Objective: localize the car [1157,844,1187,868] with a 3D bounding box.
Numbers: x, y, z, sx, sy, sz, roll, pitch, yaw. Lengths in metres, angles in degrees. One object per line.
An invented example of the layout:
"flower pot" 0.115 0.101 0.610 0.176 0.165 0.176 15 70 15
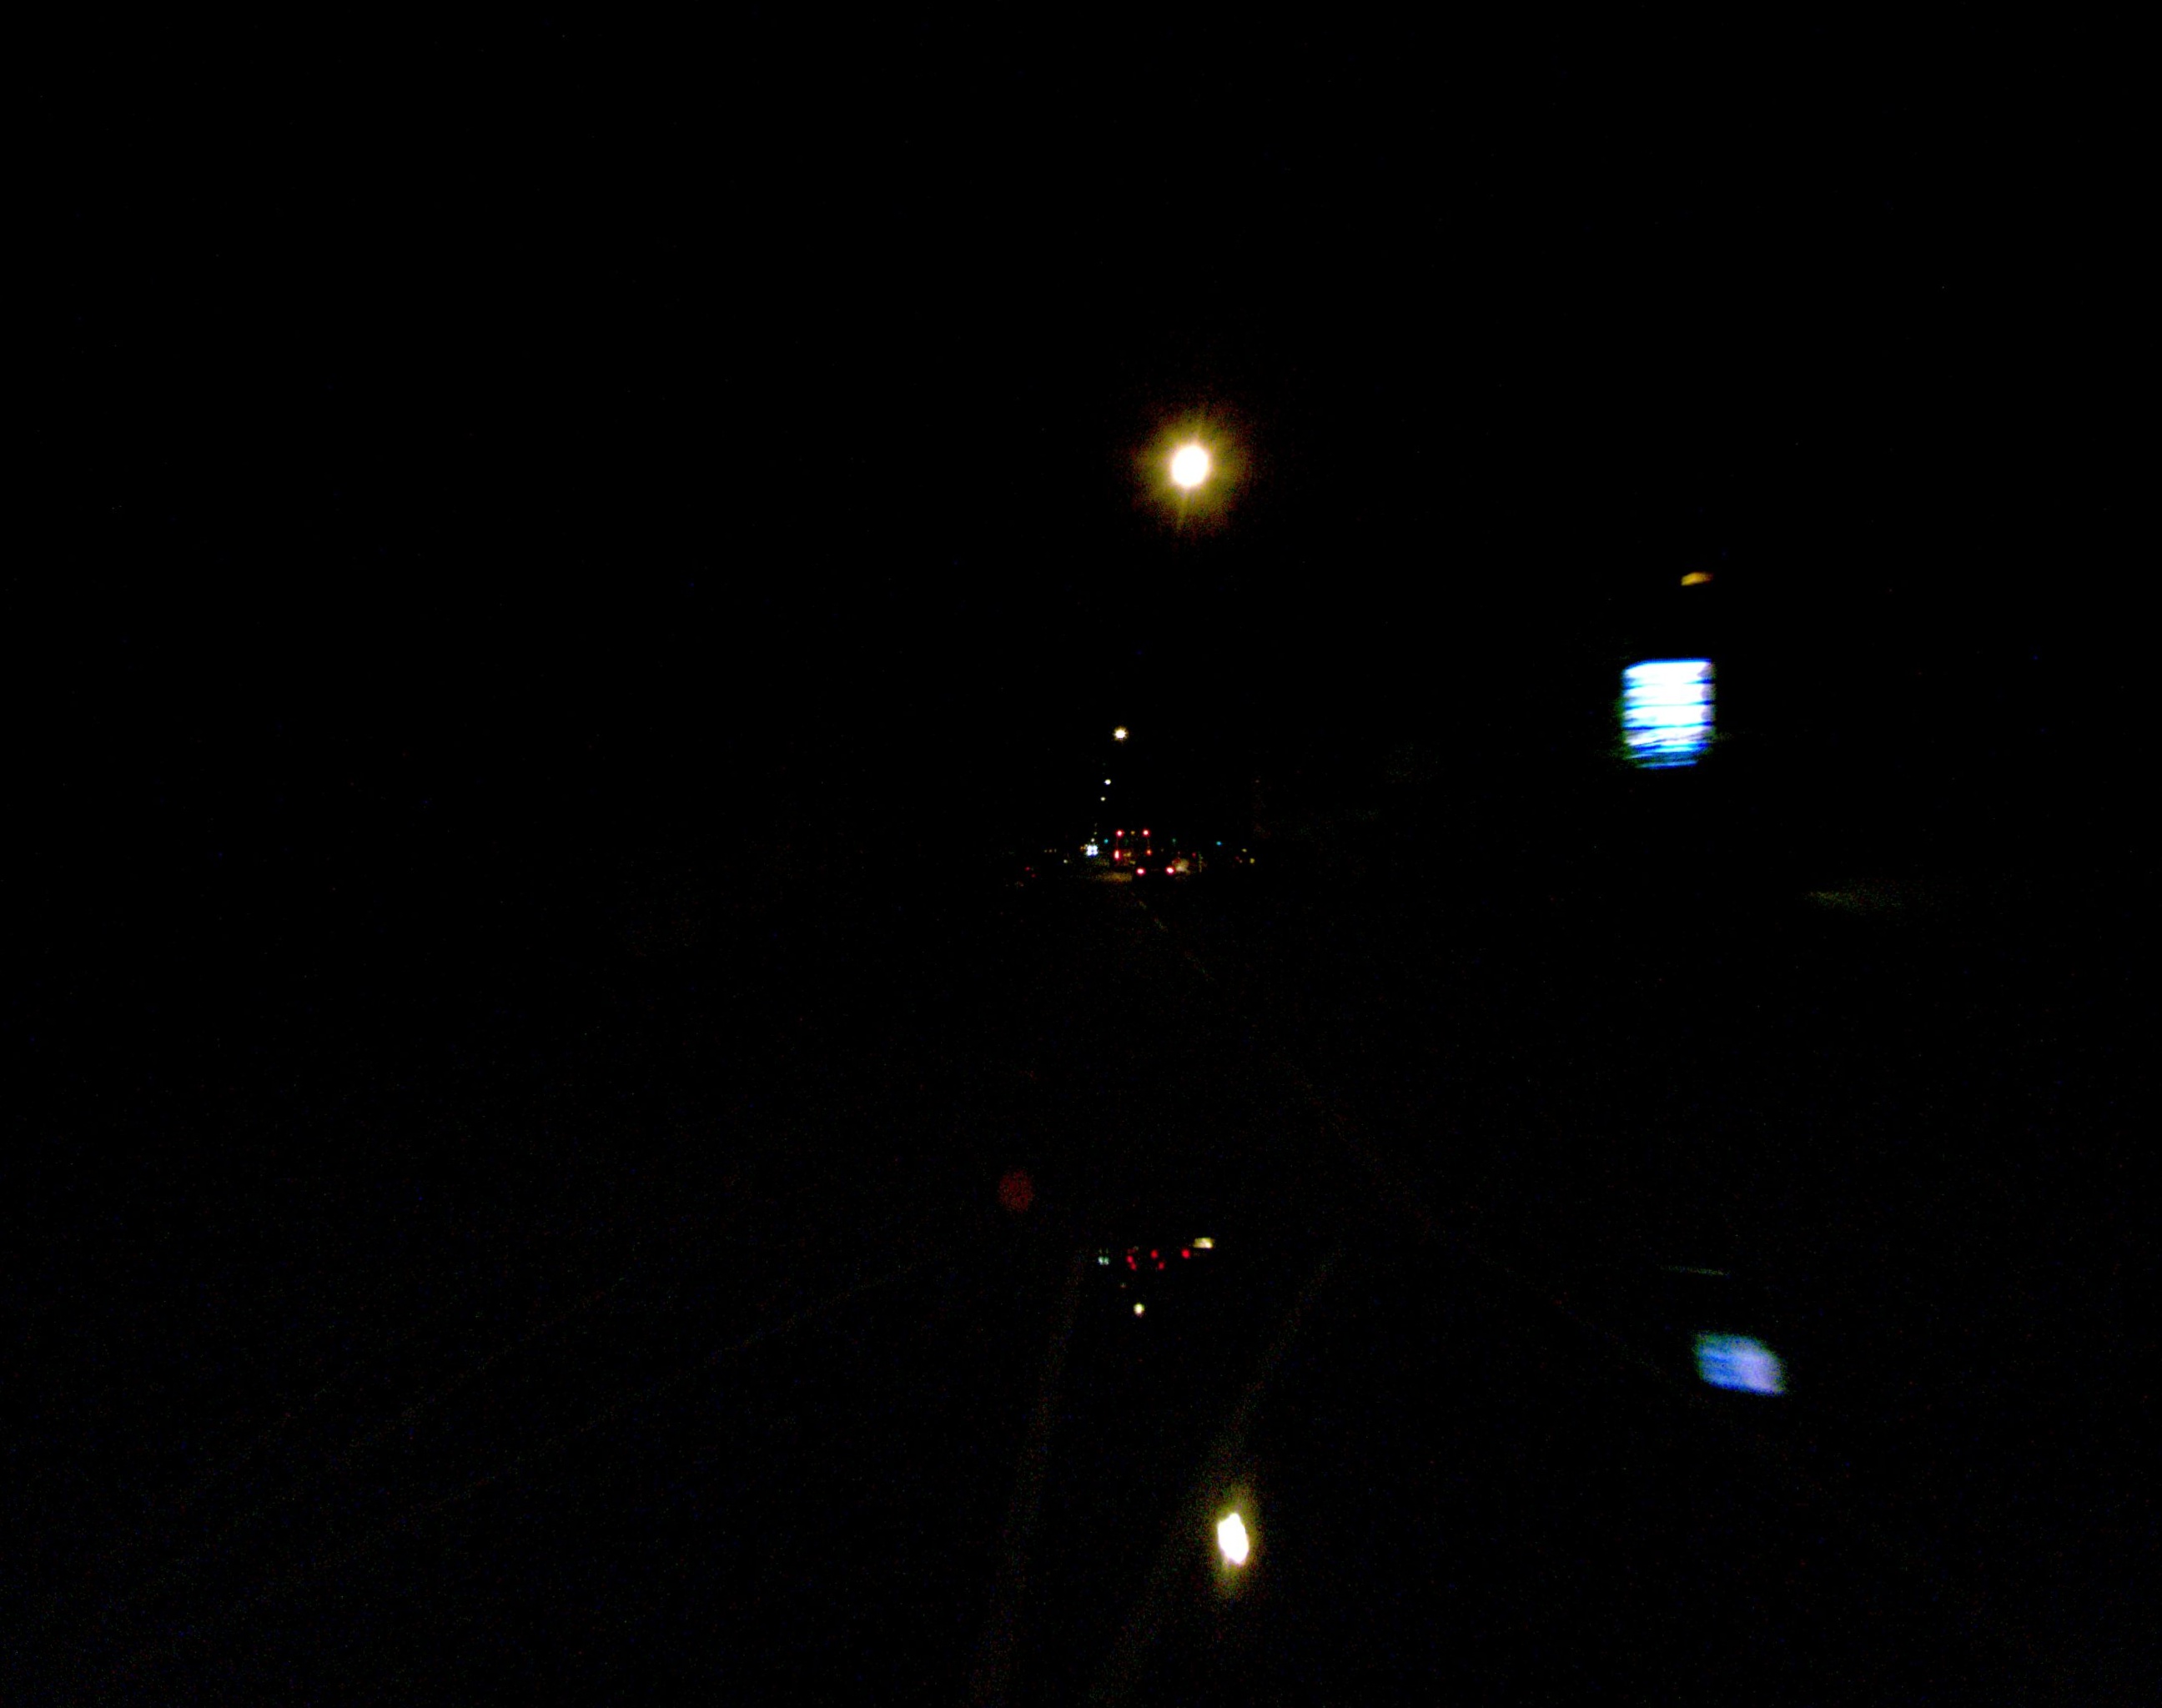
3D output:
"car" 7.150 0.111 60.118 1.998 1.740 4.000 -2 1 3

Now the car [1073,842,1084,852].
"car" -0.499 -1.440 150.252 1.916 1.816 4.899 -1 1 -1

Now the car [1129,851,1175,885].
"car" 3.131 0.585 34.075 1.650 1.414 3.870 -1 0 0

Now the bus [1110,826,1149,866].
"bus" 4.189 -0.715 67.864 2.844 3.159 10.498 -2 0 1

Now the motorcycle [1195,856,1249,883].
"motorcycle" 6.158 0.666 33.292 2.203 1.124 0.717 -1 1 34

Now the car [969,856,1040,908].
"car" -2.333 0.825 24.077 1.767 1.467 4.080 0 0 1

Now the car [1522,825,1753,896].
"car" 13.516 0.135 18.669 4.236 1.496 1.873 -2 1 3

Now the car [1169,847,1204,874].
"car" 6.517 0.343 47.189 1.625 1.483 3.779 -2 1 0

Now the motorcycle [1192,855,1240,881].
"motorcycle" 6.244 0.637 35.309 0.717 1.140 2.203 -2 1 -41

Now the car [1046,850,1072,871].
"car" -1.637 0.460 57.281 1.775 1.440 4.018 -1 1 0

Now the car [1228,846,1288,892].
"car" 6.419 0.508 27.806 1.642 1.489 2.765 -1 2 3

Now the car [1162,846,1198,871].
"car" 6.694 0.299 51.753 1.868 1.483 4.279 -2 1 0

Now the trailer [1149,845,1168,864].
"trailer" 7.308 0.009 71.536 1.641 1.630 3.439 -2 2 6

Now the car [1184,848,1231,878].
"car" 6.465 0.429 39.266 1.708 1.483 4.227 0 0 0

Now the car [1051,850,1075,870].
"car" -1.465 0.457 62.887 1.849 1.409 4.644 1 1 0

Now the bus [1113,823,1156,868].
"bus" 4.009 -0.664 58.768 2.844 3.159 7.660 -2 0 1
